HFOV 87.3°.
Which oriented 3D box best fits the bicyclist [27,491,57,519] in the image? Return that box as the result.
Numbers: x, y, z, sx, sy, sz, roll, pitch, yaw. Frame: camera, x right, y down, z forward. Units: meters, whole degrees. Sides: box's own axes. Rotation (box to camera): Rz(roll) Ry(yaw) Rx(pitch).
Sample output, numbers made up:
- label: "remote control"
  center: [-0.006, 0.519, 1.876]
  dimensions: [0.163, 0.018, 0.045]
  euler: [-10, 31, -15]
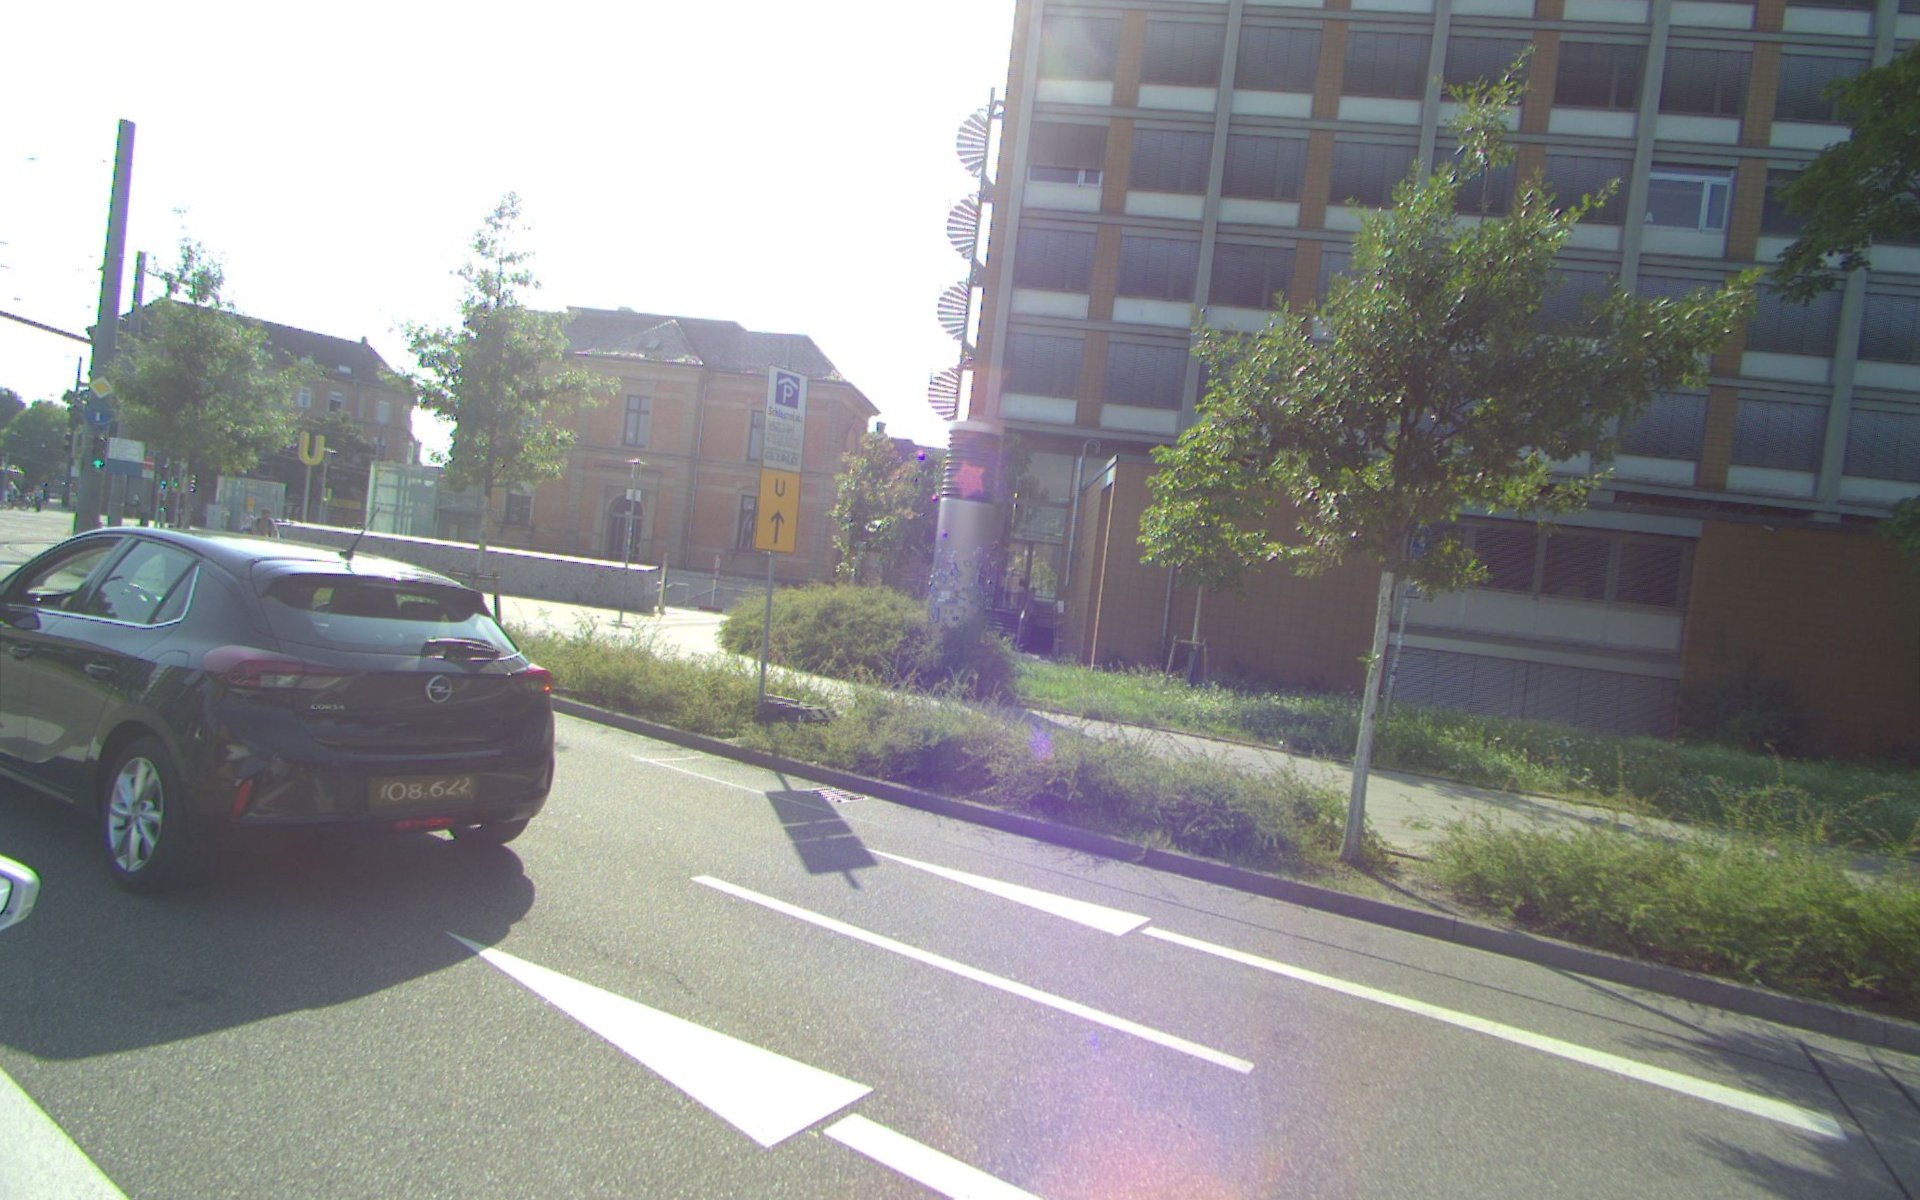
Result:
- label: "bicyclist"
  center: [-61.337, -6.334, 67.236]
  dimensions: [1.072, 1.701, 0.937]
  euler: [7, 1, 13]

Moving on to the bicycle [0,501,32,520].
- label: "bicycle"
  center: [-59.915, -5.668, 62.995]
  dimensions: [1.073, 0.976, 2.626]
  euler: [7, 0, -1]

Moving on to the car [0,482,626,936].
- label: "car"
  center: [-4.025, 0.292, 5.340]
  dimensions: [4.297, 1.509, 1.687]
  euler: [7, -1, 29]

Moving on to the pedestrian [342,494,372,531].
- label: "pedestrian"
  center: [-30.323, -4.391, 50.584]
  dimensions: [0.908, 1.711, 0.922]
  euler: [7, 0, -14]

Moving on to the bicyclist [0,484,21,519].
- label: "bicyclist"
  center: [-59.855, -6.217, 62.941]
  dimensions: [1.073, 2.049, 0.936]
  euler: [7, 1, -1]

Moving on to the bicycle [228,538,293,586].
- label: "bicycle"
  center: [-16.812, -0.916, 24.155]
  dimensions: [1.893, 0.972, 0.719]
  euler: [7, 1, 39]

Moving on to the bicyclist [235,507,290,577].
- label: "bicyclist"
  center: [-16.706, -1.391, 24.102]
  dimensions: [0.989, 1.532, 0.719]
  euler: [7, 1, 38]

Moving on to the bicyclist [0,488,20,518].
- label: "bicyclist"
  center: [-61.427, -6.270, 64.621]
  dimensions: [1.072, 1.822, 0.937]
  euler: [7, 1, 13]

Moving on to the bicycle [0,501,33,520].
- label: "bicycle"
  center: [-61.476, -5.846, 64.645]
  dimensions: [1.072, 0.976, 2.628]
  euler: [7, 0, 12]

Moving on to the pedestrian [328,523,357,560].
- label: "pedestrian"
  center: [-31.469, -2.981, 51.302]
  dimensions: [0.909, 1.711, 0.834]
  euler: [7, 0, -17]

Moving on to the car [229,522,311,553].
- label: "car"
  center: [-46.376, -4.184, 67.723]
  dimensions: [1.985, 1.414, 4.391]
  euler: [7, -1, 9]

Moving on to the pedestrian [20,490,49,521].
- label: "pedestrian"
  center: [-59.847, -6.106, 65.062]
  dimensions: [0.844, 1.819, 0.927]
  euler: [7, 1, -5]

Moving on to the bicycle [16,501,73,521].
- label: "bicycle"
  center: [-61.345, -5.959, 67.435]
  dimensions: [1.072, 0.976, 2.628]
  euler: [7, 0, 12]
